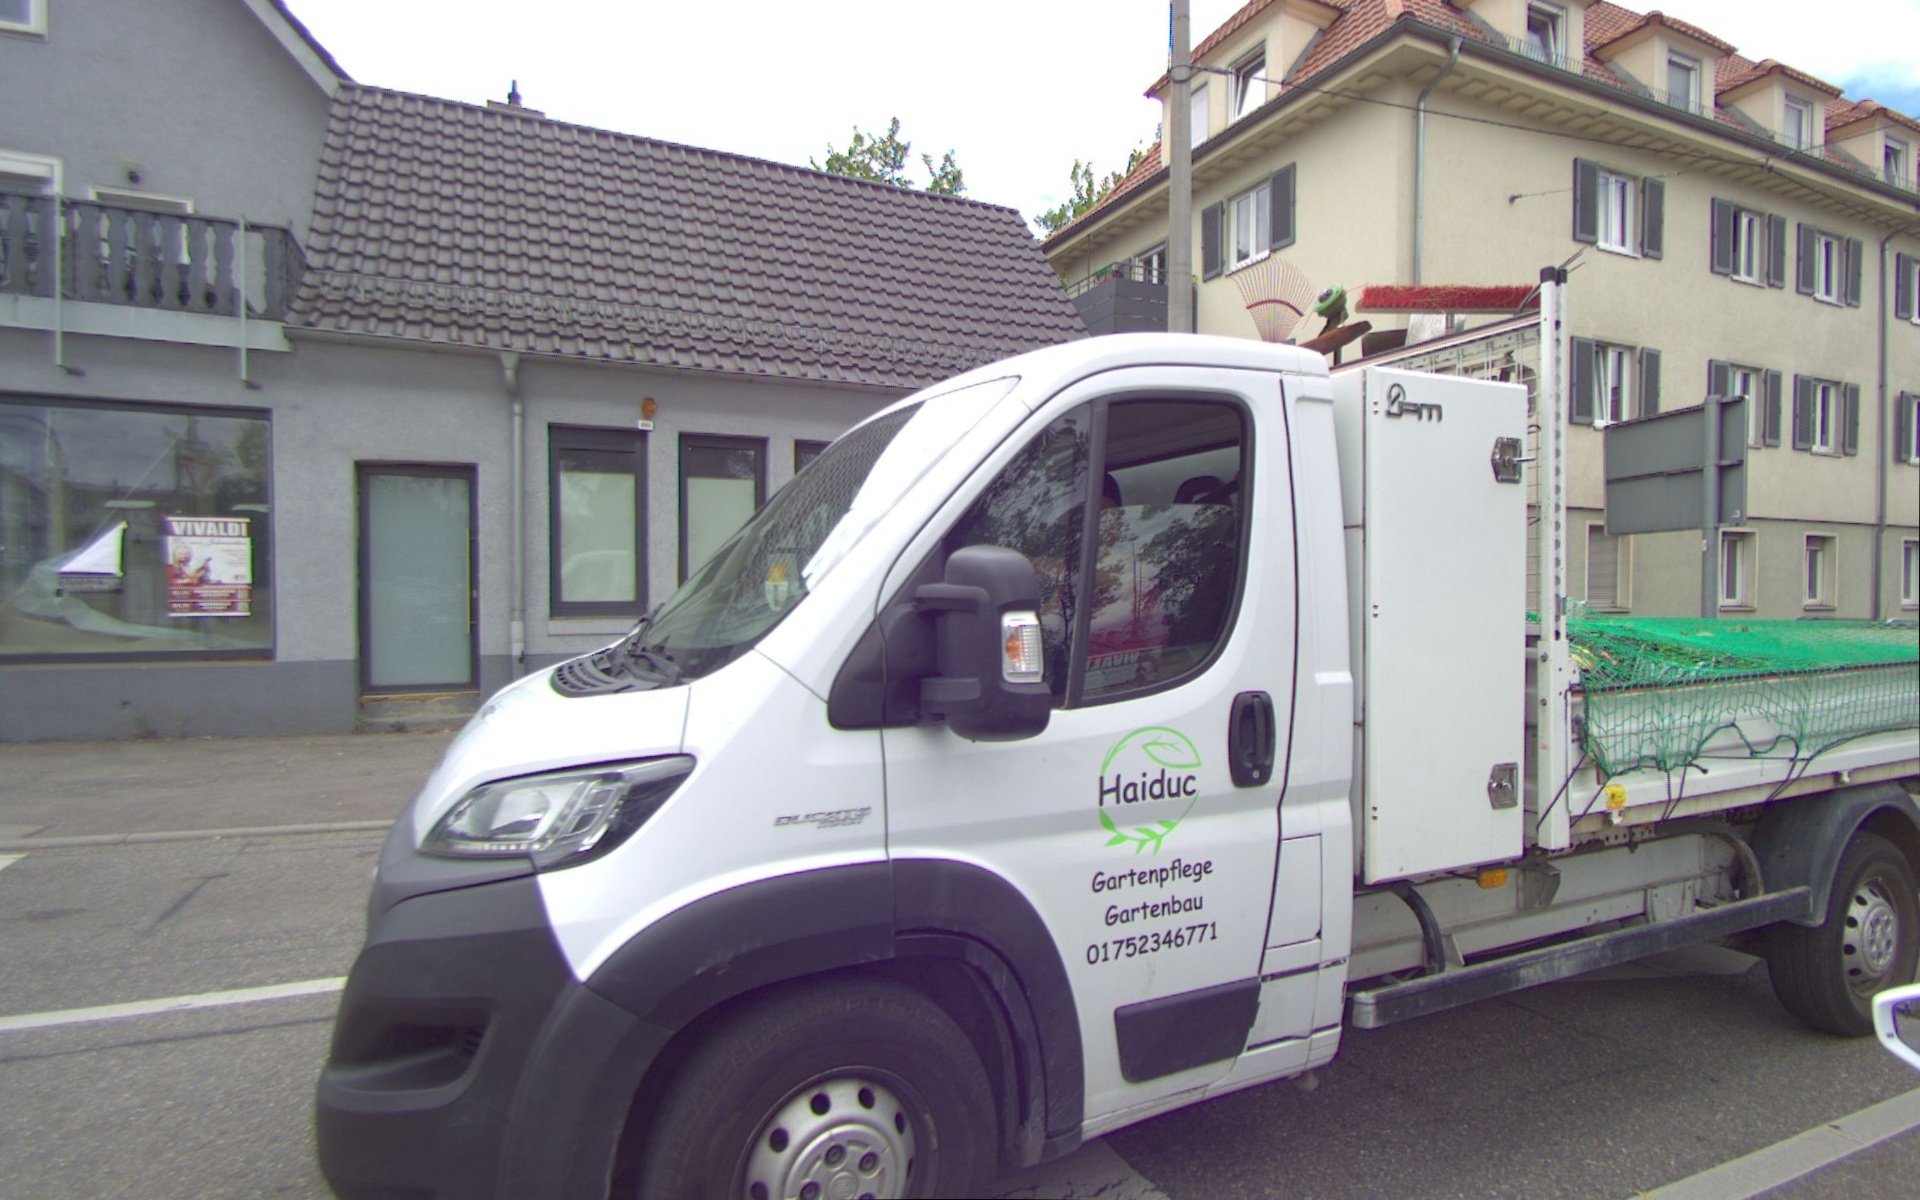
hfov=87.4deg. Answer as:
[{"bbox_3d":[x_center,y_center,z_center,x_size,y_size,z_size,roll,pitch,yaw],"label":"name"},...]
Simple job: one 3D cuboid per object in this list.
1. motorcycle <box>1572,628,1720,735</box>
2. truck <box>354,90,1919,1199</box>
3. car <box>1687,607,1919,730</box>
[{"bbox_3d":[9.208,1.060,13.465,2.201,1.308,0.623,1,2,-27],"label":"motorcycle"},{"bbox_3d":[1.589,0.384,3.883,6.500,2.231,2.114,1,1,-25],"label":"truck"},{"bbox_3d":[13.695,0.991,15.723,4.636,1.655,1.815,1,1,-27],"label":"car"}]
